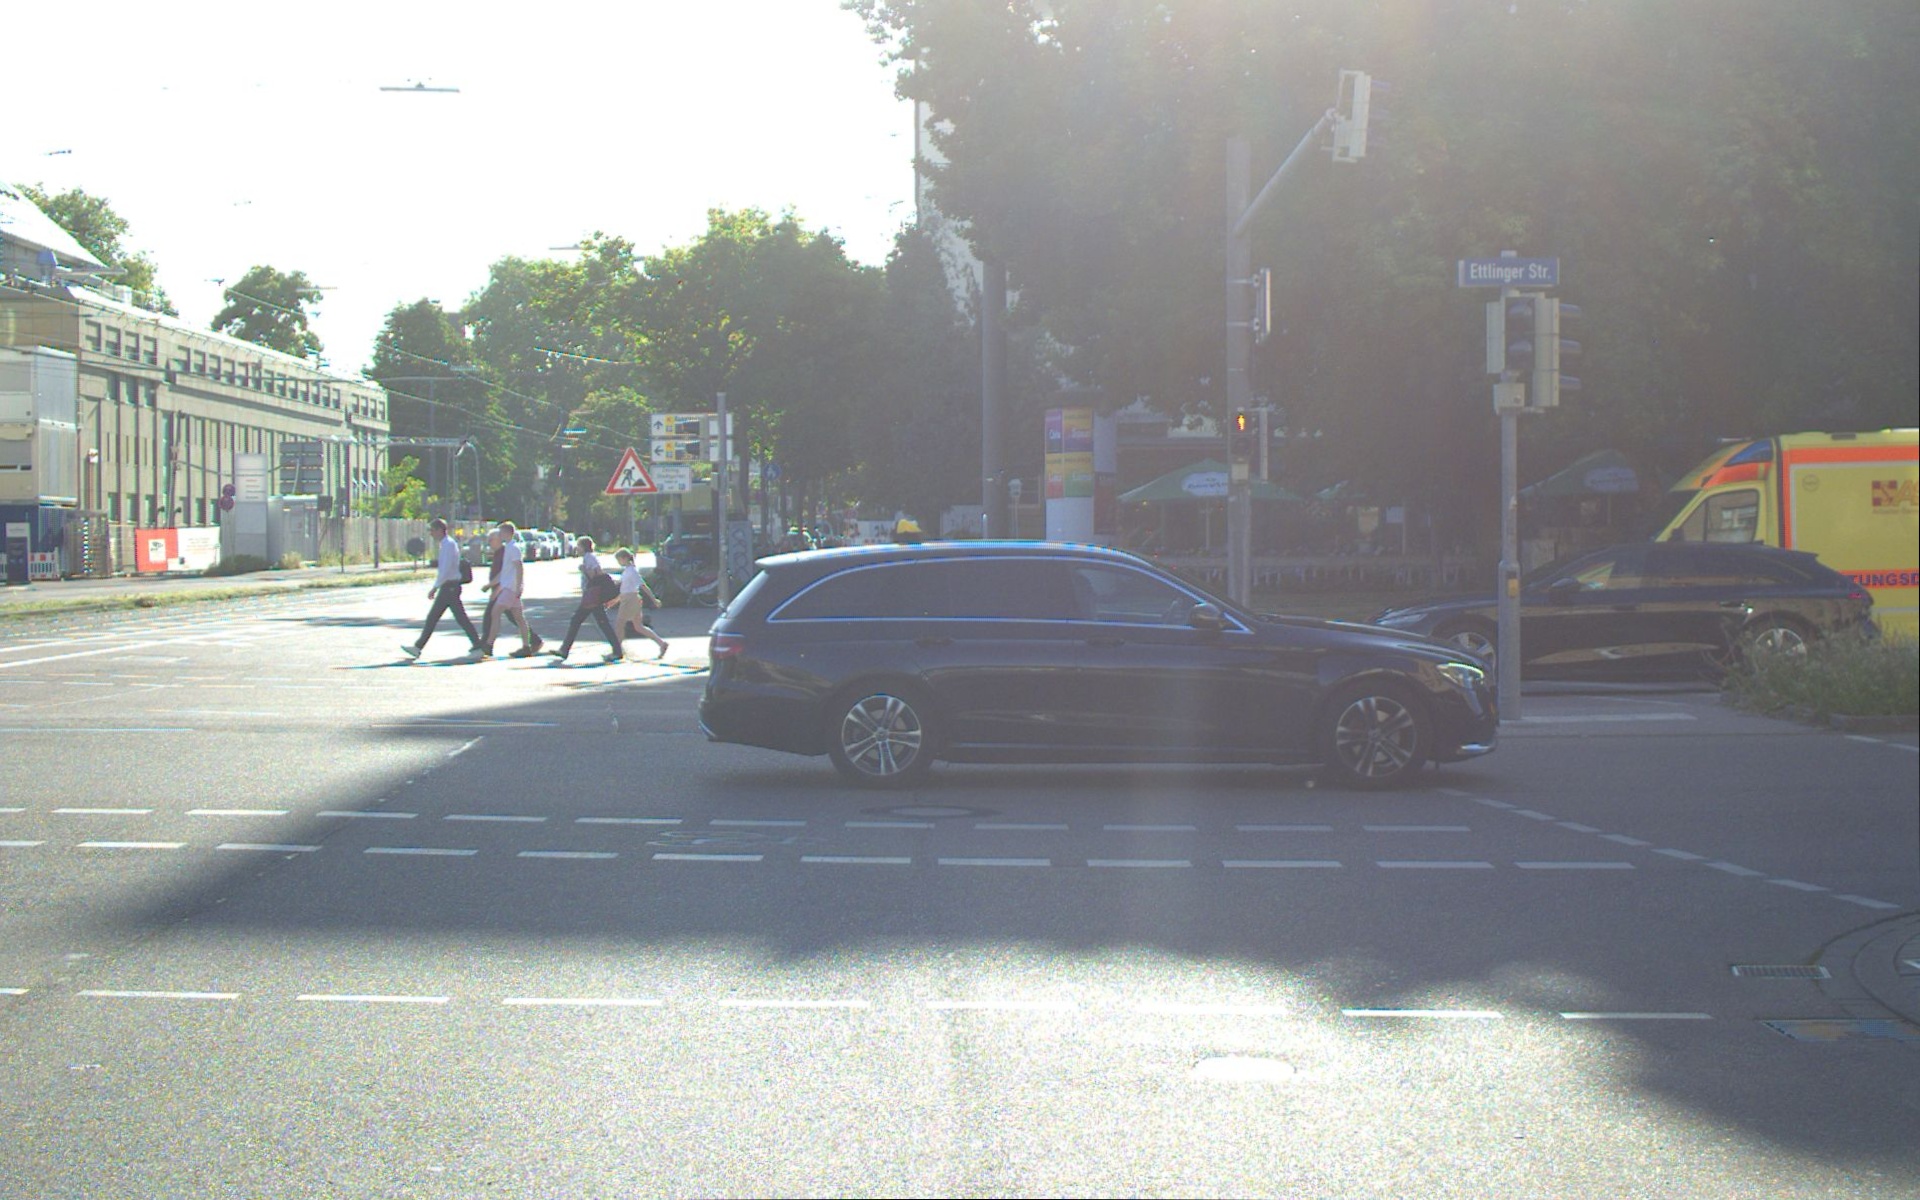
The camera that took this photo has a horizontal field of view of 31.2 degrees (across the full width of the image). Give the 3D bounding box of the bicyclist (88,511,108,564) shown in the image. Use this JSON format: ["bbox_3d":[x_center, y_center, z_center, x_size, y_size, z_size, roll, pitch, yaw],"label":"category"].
[{"bbox_3d":[-32.790,-2.390,130.727,0.571,2.017,0.762,0,1,-2],"label":"bicyclist"}]

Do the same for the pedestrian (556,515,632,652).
[{"bbox_3d":[-4.833,-0.224,45.448,0.870,1.797,0.664,0,1,5],"label":"pedestrian"}]

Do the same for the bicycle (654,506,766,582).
[{"bbox_3d":[-5.910,-1.326,81.410,2.547,1.737,1.037,1,0,0],"label":"bicycle"}]

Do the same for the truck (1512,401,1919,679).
[{"bbox_3d":[9.591,-0.670,38.512,6.468,3.005,2.725,0,1,3],"label":"truck"}]

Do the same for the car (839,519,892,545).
[{"bbox_3d":[-5.880,-4.205,213.435,3.214,1.583,1.446,1,0,-4],"label":"car"}]

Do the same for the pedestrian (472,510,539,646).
[{"bbox_3d":[-6.058,-0.297,45.876,0.739,1.797,0.716,0,1,5],"label":"pedestrian"}]

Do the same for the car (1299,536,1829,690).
[{"bbox_3d":[5.733,0.139,33.076,4.735,1.410,2.000,0,-1,0],"label":"car"}]

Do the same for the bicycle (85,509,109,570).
[{"bbox_3d":[-32.778,-2.303,130.632,0.571,2.288,1.422,0,1,-2],"label":"bicycle"}]

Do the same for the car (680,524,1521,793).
[{"bbox_3d":[0.831,0.320,21.359,4.940,1.506,2.211,1,2,1],"label":"car"}]

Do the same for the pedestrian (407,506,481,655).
[{"bbox_3d":[-6.666,-0.259,44.465,0.802,1.911,0.637,0,1,5],"label":"pedestrian"}]

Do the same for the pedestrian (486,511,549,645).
[{"bbox_3d":[-5.985,-0.297,46.546,0.739,1.797,0.532,0,1,5],"label":"pedestrian"}]

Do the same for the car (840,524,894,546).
[{"bbox_3d":[-5.714,-3.997,211.075,3.217,1.259,1.373,1,0,-5],"label":"car"}]

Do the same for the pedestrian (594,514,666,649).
[{"bbox_3d":[-4.415,-0.253,45.998,0.870,1.797,0.532,0,1,5],"label":"pedestrian"}]

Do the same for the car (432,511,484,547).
[{"bbox_3d":[-22.845,-3.211,156.510,1.894,1.601,4.501,-1,1,-2],"label":"car"}]
